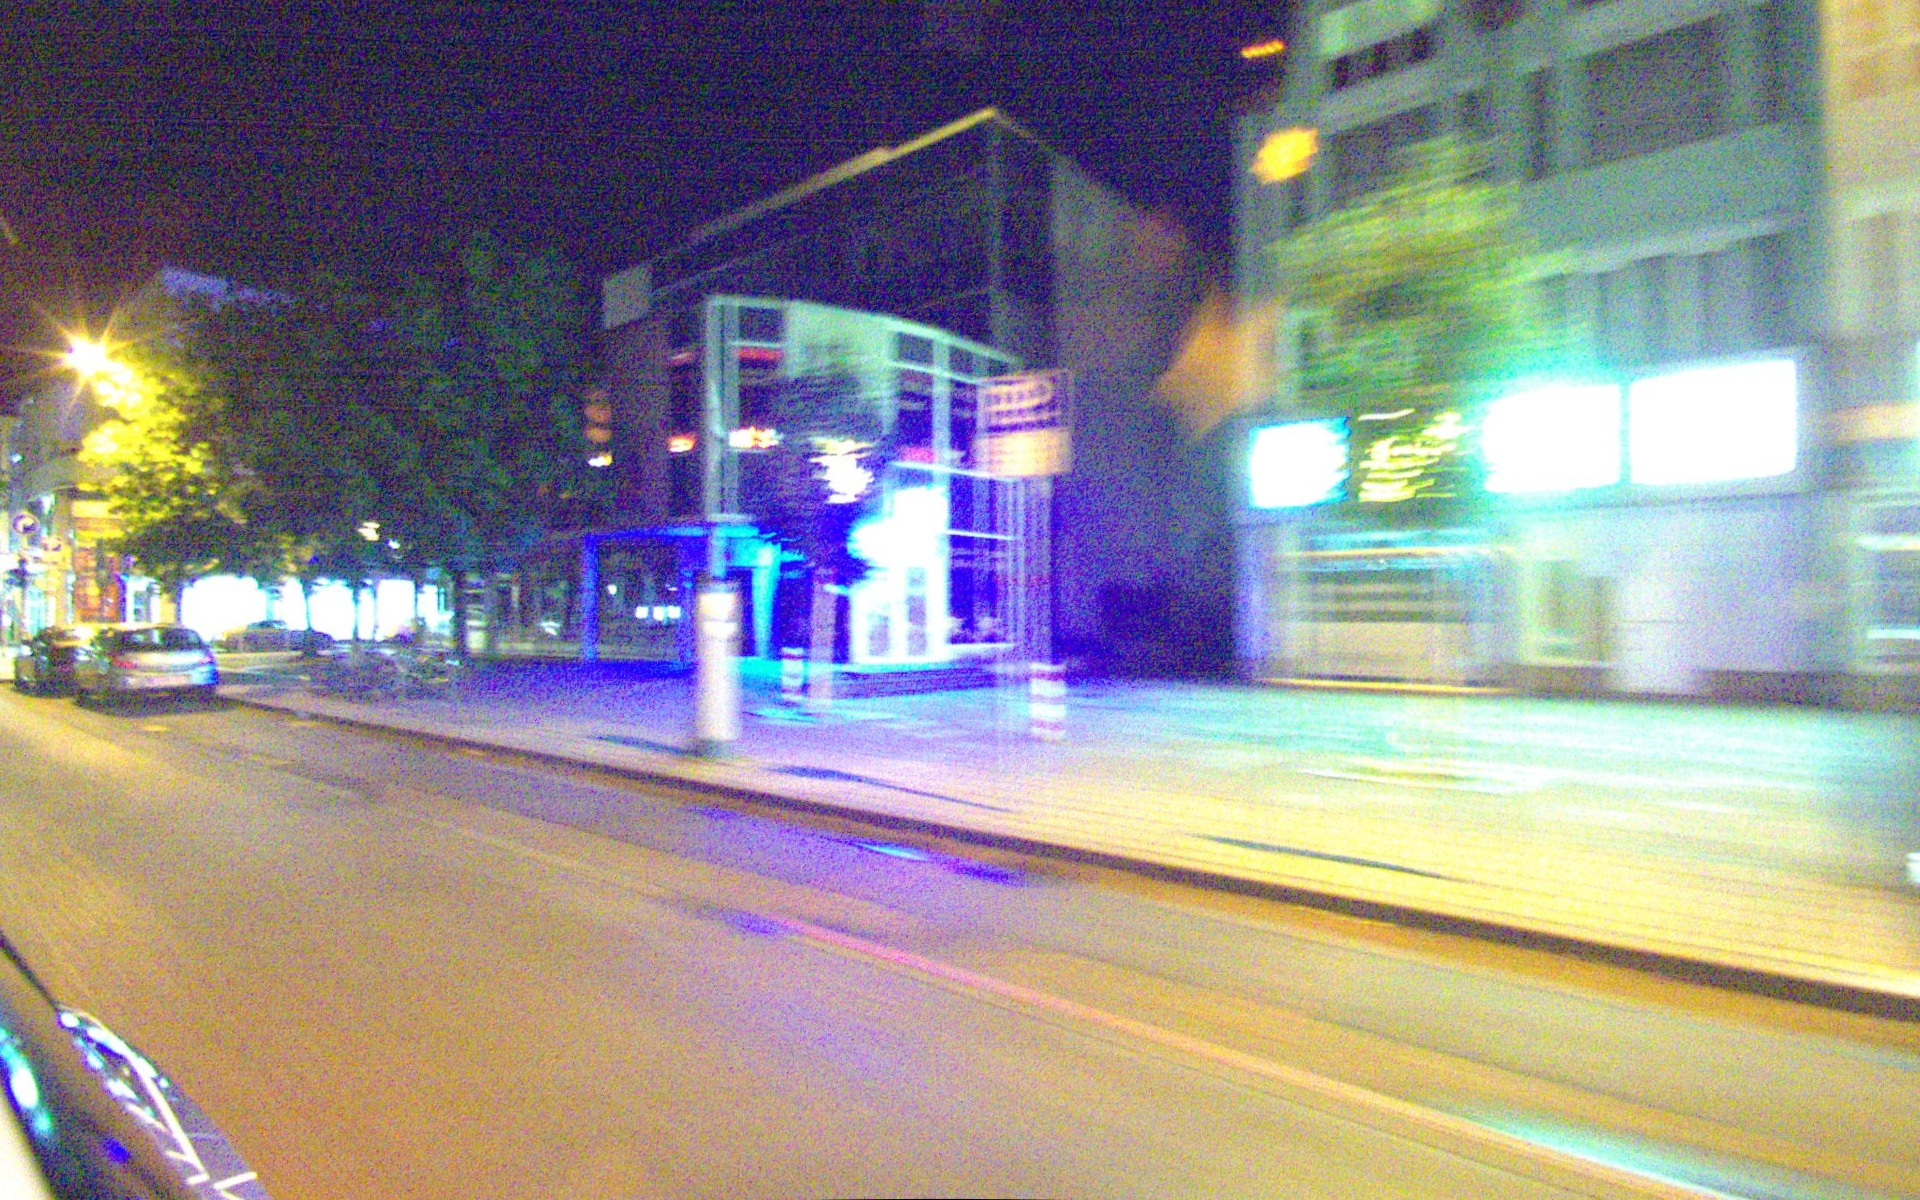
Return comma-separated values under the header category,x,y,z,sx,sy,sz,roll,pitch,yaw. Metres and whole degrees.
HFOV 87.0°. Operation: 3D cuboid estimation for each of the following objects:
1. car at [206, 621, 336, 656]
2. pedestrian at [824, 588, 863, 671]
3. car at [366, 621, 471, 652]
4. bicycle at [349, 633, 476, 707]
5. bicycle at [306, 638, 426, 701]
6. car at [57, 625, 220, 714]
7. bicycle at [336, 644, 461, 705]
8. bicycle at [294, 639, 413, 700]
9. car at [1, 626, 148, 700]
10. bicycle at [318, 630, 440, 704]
category,x,y,z,sx,sy,sz,roll,pitch,yaw
car,-29.640,1.637,43.642,1.801,1.408,4.285,-1,-2,39
pedestrian,-2.369,0.603,20.598,0.631,1.649,0.473,-1,-2,41
car,-25.870,1.713,48.461,1.801,1.448,4.094,-1,-2,39
bicycle,-9.263,1.156,17.189,0.532,1.175,1.832,-1,-2,40
bicycle,-10.919,1.256,18.668,0.532,1.043,1.832,-1,0,40
car,-15.565,1.225,19.113,3.974,1.439,1.704,-1,0,41
bicycle,-9.747,1.270,17.626,0.501,0.975,1.832,-1,-2,40
bicycle,-11.421,1.282,19.108,0.532,1.007,1.832,-1,0,40
car,-19.820,1.318,22.563,4.918,1.436,1.788,-1,0,41
bicycle,-10.433,1.174,18.234,0.532,1.263,1.832,-1,-2,40
